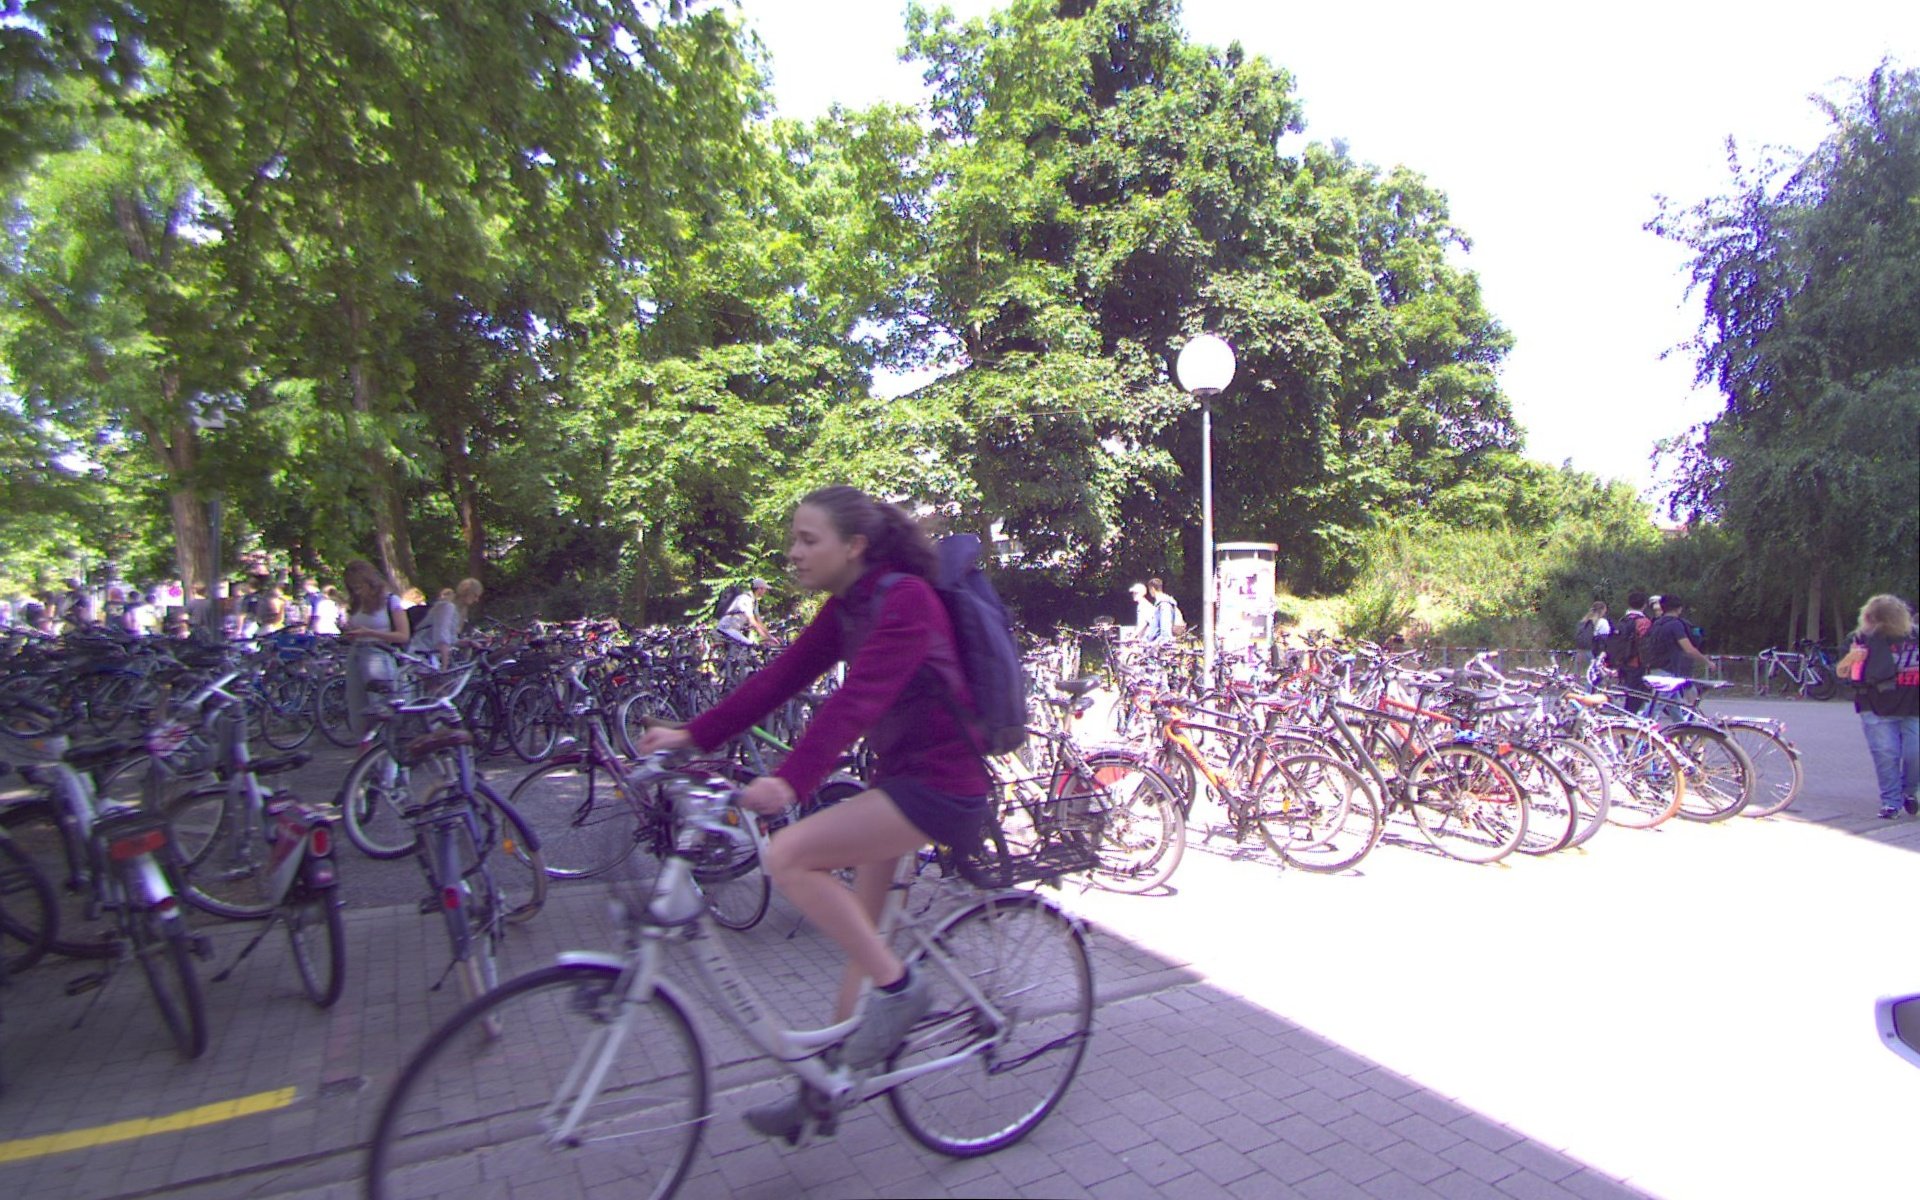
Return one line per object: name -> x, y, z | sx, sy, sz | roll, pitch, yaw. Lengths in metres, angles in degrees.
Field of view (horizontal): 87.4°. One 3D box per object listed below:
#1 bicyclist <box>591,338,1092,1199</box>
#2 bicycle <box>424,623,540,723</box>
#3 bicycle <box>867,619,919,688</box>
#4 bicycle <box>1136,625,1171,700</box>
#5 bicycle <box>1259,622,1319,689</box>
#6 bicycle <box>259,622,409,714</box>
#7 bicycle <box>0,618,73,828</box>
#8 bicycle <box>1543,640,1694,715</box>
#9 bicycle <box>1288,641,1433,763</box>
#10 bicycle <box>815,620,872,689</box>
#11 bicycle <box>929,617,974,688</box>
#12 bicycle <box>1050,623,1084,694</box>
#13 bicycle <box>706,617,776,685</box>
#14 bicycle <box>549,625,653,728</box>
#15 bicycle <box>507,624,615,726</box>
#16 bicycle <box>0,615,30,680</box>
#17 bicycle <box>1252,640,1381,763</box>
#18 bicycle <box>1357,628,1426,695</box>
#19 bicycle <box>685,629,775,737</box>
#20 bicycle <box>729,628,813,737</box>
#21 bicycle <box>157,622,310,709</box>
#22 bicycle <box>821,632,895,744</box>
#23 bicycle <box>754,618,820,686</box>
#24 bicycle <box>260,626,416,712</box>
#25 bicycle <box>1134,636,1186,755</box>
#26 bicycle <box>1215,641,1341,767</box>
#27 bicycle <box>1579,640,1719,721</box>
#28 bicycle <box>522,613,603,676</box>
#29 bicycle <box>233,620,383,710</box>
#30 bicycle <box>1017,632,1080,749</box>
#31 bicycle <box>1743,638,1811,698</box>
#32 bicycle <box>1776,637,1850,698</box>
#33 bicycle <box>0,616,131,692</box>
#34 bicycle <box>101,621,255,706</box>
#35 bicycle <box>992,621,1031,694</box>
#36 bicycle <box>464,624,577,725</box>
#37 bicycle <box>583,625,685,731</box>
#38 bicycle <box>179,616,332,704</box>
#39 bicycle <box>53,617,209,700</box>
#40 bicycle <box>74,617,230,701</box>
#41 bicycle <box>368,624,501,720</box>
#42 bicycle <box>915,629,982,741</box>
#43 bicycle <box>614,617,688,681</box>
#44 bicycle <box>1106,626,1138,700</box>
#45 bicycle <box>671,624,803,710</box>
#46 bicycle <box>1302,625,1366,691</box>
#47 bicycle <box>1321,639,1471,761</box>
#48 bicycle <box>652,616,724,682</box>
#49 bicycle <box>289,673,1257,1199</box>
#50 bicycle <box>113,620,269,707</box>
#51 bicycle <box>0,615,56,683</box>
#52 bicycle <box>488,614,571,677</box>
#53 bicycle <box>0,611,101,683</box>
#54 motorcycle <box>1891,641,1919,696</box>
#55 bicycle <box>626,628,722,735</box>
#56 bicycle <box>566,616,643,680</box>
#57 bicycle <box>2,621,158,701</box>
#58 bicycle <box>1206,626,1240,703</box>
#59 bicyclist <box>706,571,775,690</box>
bicyclist -> -0.295, 0.415, 2.382 | 0.901, 1.738, 0.767 | 2, -2, -33
bicycle -> -5.829, 0.855, 12.344 | 0.464, 1.098, 1.700 | 1, 0, 5
bicycle -> -1.150, 0.907, 17.613 | 0.507, 1.125, 1.779 | 1, 0, 9
bicycle -> 3.211, 0.995, 16.593 | 0.464, 1.125, 1.779 | 1, 0, 14
bicycle -> 5.984, 0.988, 18.360 | 0.465, 1.125, 1.778 | 1, 0, -1
bicycle -> -8.071, 0.840, 13.037 | 0.465, 1.098, 1.699 | 1, 0, 21
bicycle -> -6.057, 0.719, 5.513 | 0.564, 1.215, 1.699 | 1, 0, 20
bicycle -> 10.193, 1.183, 15.593 | 1.870, 1.061, 0.542 | 2, -1, 11
bicycle -> 4.139, 1.014, 10.516 | 0.466, 1.098, 1.719 | 1, 0, -15
bicycle -> -2.011, 0.921, 17.584 | 0.507, 1.125, 1.779 | 1, 0, 9
bicycle -> -0.121, 0.857, 17.135 | 0.464, 1.125, 1.779 | 1, 0, 9
bicycle -> 1.848, 0.970, 17.220 | 0.464, 1.125, 1.779 | 1, 0, 9
bicycle -> -3.884, 0.887, 17.965 | 0.507, 1.125, 1.779 | 1, 0, 12
bicycle -> -4.253, 0.869, 12.016 | 0.464, 1.098, 1.700 | 1, 0, 5
bicycle -> -4.763, 0.860, 12.092 | 0.464, 1.098, 1.700 | 1, 0, 5
bicycle -> -16.728, 0.797, 16.770 | 0.465, 1.098, 1.698 | 1, 0, 26
bicycle -> 3.645, 1.004, 10.419 | 0.465, 1.098, 1.696 | 1, 0, -10
bicycle -> 7.897, 1.094, 18.447 | 0.465, 1.125, 1.778 | 1, 0, -1
bicycle -> -2.587, 0.902, 11.456 | 0.464, 1.098, 1.700 | 1, 0, 5
bicycle -> -2.120, 0.890, 11.423 | 0.464, 1.098, 1.700 | 1, 0, 5
bicycle -> -9.888, 0.858, 13.743 | 0.465, 1.098, 1.699 | 1, 0, 21
bicycle -> -1.101, 0.928, 11.130 | 0.464, 1.098, 1.700 | 1, 0, 5
bicycle -> -3.026, 0.888, 17.756 | 0.507, 1.125, 1.779 | 1, 0, 12
bicycle -> -7.757, 0.828, 12.619 | 0.443, 0.975, 1.740 | 1, 0, 21
bicycle -> 2.126, 0.963, 10.669 | 0.464, 1.098, 1.701 | 1, 0, 11
bicycle -> 3.161, 1.004, 10.150 | 0.465, 1.098, 1.696 | 1, 0, -10
bicycle -> 10.154, 1.185, 14.820 | 1.810, 1.125, 0.474 | 1, 0, -6
bicycle -> -7.507, 0.808, 19.032 | 0.507, 1.125, 1.779 | 1, 0, 12
bicycle -> -8.579, 0.821, 13.295 | 0.465, 1.098, 1.699 | 1, 0, 21
bicycle -> 0.971, 0.921, 10.746 | 0.464, 1.098, 1.701 | 1, 0, 11
bicycle -> 16.027, 1.308, 19.740 | 0.465, 1.061, 1.700 | 1, 0, 19
bicycle -> 16.636, 1.294, 19.633 | 0.465, 1.061, 1.699 | 3, 1, 19
bicycle -> -13.819, 0.794, 15.385 | 0.465, 1.098, 1.699 | 1, 0, 21
bicycle -> -10.906, 0.853, 14.081 | 0.465, 1.098, 1.699 | 1, 0, 21
bicycle -> 0.886, 0.934, 16.913 | 0.464, 1.125, 1.779 | 1, 0, 9
bicycle -> -5.272, 0.860, 12.165 | 0.464, 1.098, 1.700 | 1, 0, 5
bicycle -> -3.756, 0.867, 11.701 | 0.464, 1.098, 1.700 | 1, 0, 5
bicycle -> -9.427, 0.772, 13.511 | 0.465, 1.098, 1.699 | 1, 0, 21
bicycle -> -11.847, 0.803, 14.416 | 0.465, 1.098, 1.699 | 1, 0, 21
bicycle -> -11.383, 0.801, 14.220 | 0.465, 1.098, 1.699 | 1, 0, 21
bicycle -> -6.545, 0.862, 12.608 | 0.464, 1.098, 1.700 | 1, 0, 13
bicycle -> -0.099, 0.894, 11.164 | 0.464, 1.098, 1.701 | 1, 0, 8
bicycle -> -5.769, 0.888, 18.855 | 0.507, 1.125, 1.779 | 1, 0, 12
bicycle -> 2.696, 1.012, 16.780 | 0.464, 1.125, 1.779 | 1, 0, 9
bicycle -> -3.079, 0.908, 13.888 | 1.665, 1.098, 0.604 | 1, 0, 13
bicycle -> 6.845, 1.038, 18.467 | 0.465, 1.125, 1.778 | 1, 0, -1
bicycle -> 4.586, 1.017, 10.691 | 0.466, 1.125, 1.693 | 1, 0, -17
bicycle -> -4.990, 0.875, 18.522 | 0.507, 1.125, 1.779 | 1, 0, 12
bicycle -> -0.310, 0.773, 2.370 | 2.086, 1.165, 0.767 | 3, -2, -33
bicycle -> -10.532, 0.837, 13.829 | 0.465, 1.098, 1.699 | 1, 0, 21
bicycle -> -15.850, 0.797, 16.310 | 0.465, 1.098, 1.699 | 1, 0, 21
bicycle -> -8.218, 0.848, 19.258 | 0.507, 1.125, 1.779 | 1, 0, 12
bicycle -> -14.689, 0.724, 15.850 | 0.465, 1.098, 1.699 | 1, 0, 21
motorcycle -> 19.267, 1.387, 19.715 | 0.464, 1.061, 2.027 | 1, 1, 13
bicycle -> -3.265, 0.900, 11.604 | 0.464, 1.098, 1.700 | 1, 0, 5
bicycle -> -6.662, 0.869, 18.909 | 0.507, 1.125, 1.779 | 1, 0, 12
bicycle -> -12.960, 0.870, 14.861 | 0.465, 1.098, 1.699 | 1, 0, 21
bicycle -> 4.223, 1.007, 16.195 | 0.464, 1.125, 1.779 | 1, 0, 14
bicyclist -> -3.027, 0.414, 13.883 | 0.707, 1.589, 0.596 | 1, 0, 13
